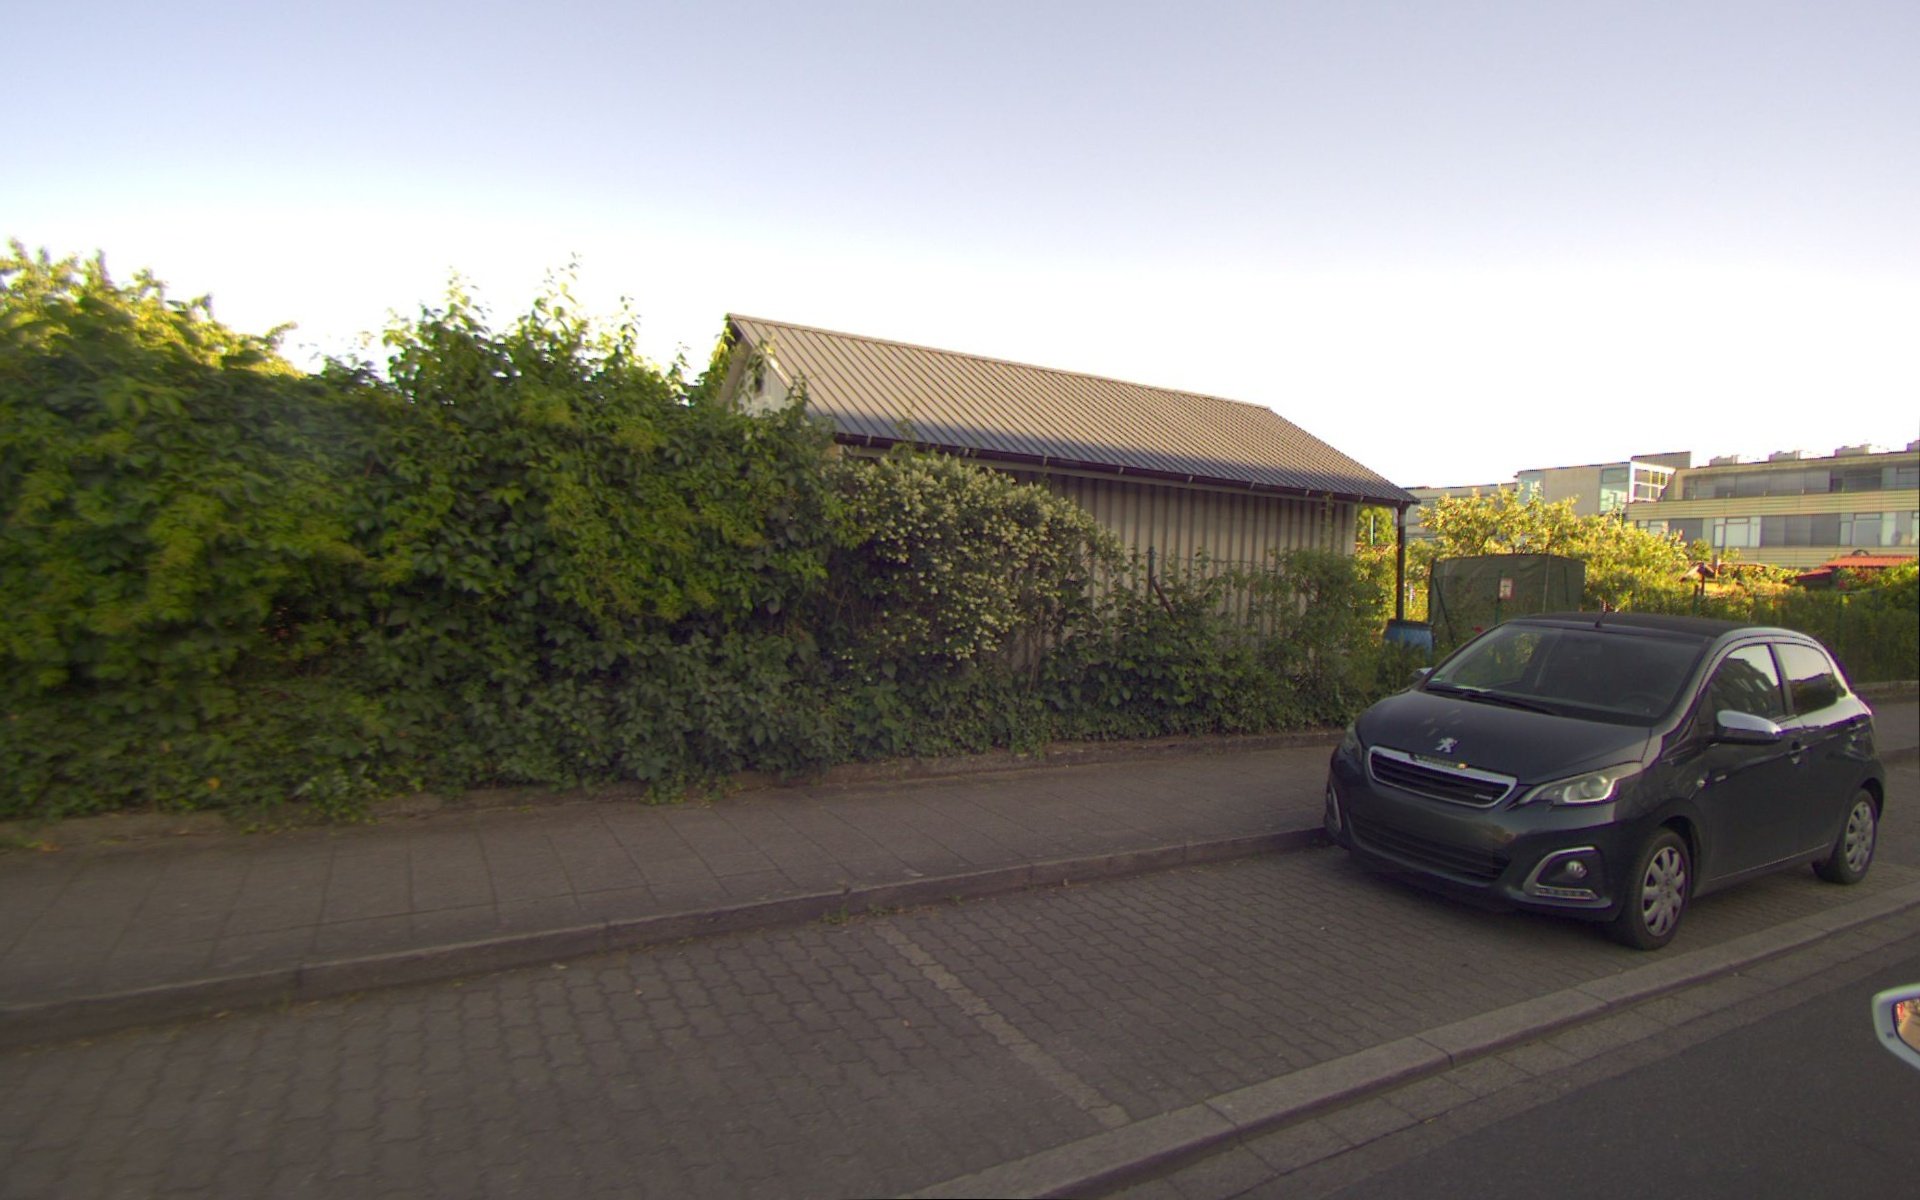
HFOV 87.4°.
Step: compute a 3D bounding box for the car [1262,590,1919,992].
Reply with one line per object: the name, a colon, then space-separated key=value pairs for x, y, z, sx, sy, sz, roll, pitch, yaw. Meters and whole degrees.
car: x=3.563 y=0.800 z=5.570 sx=3.528 sy=1.515 sz=1.552 roll=1 pitch=4 yaw=-30
